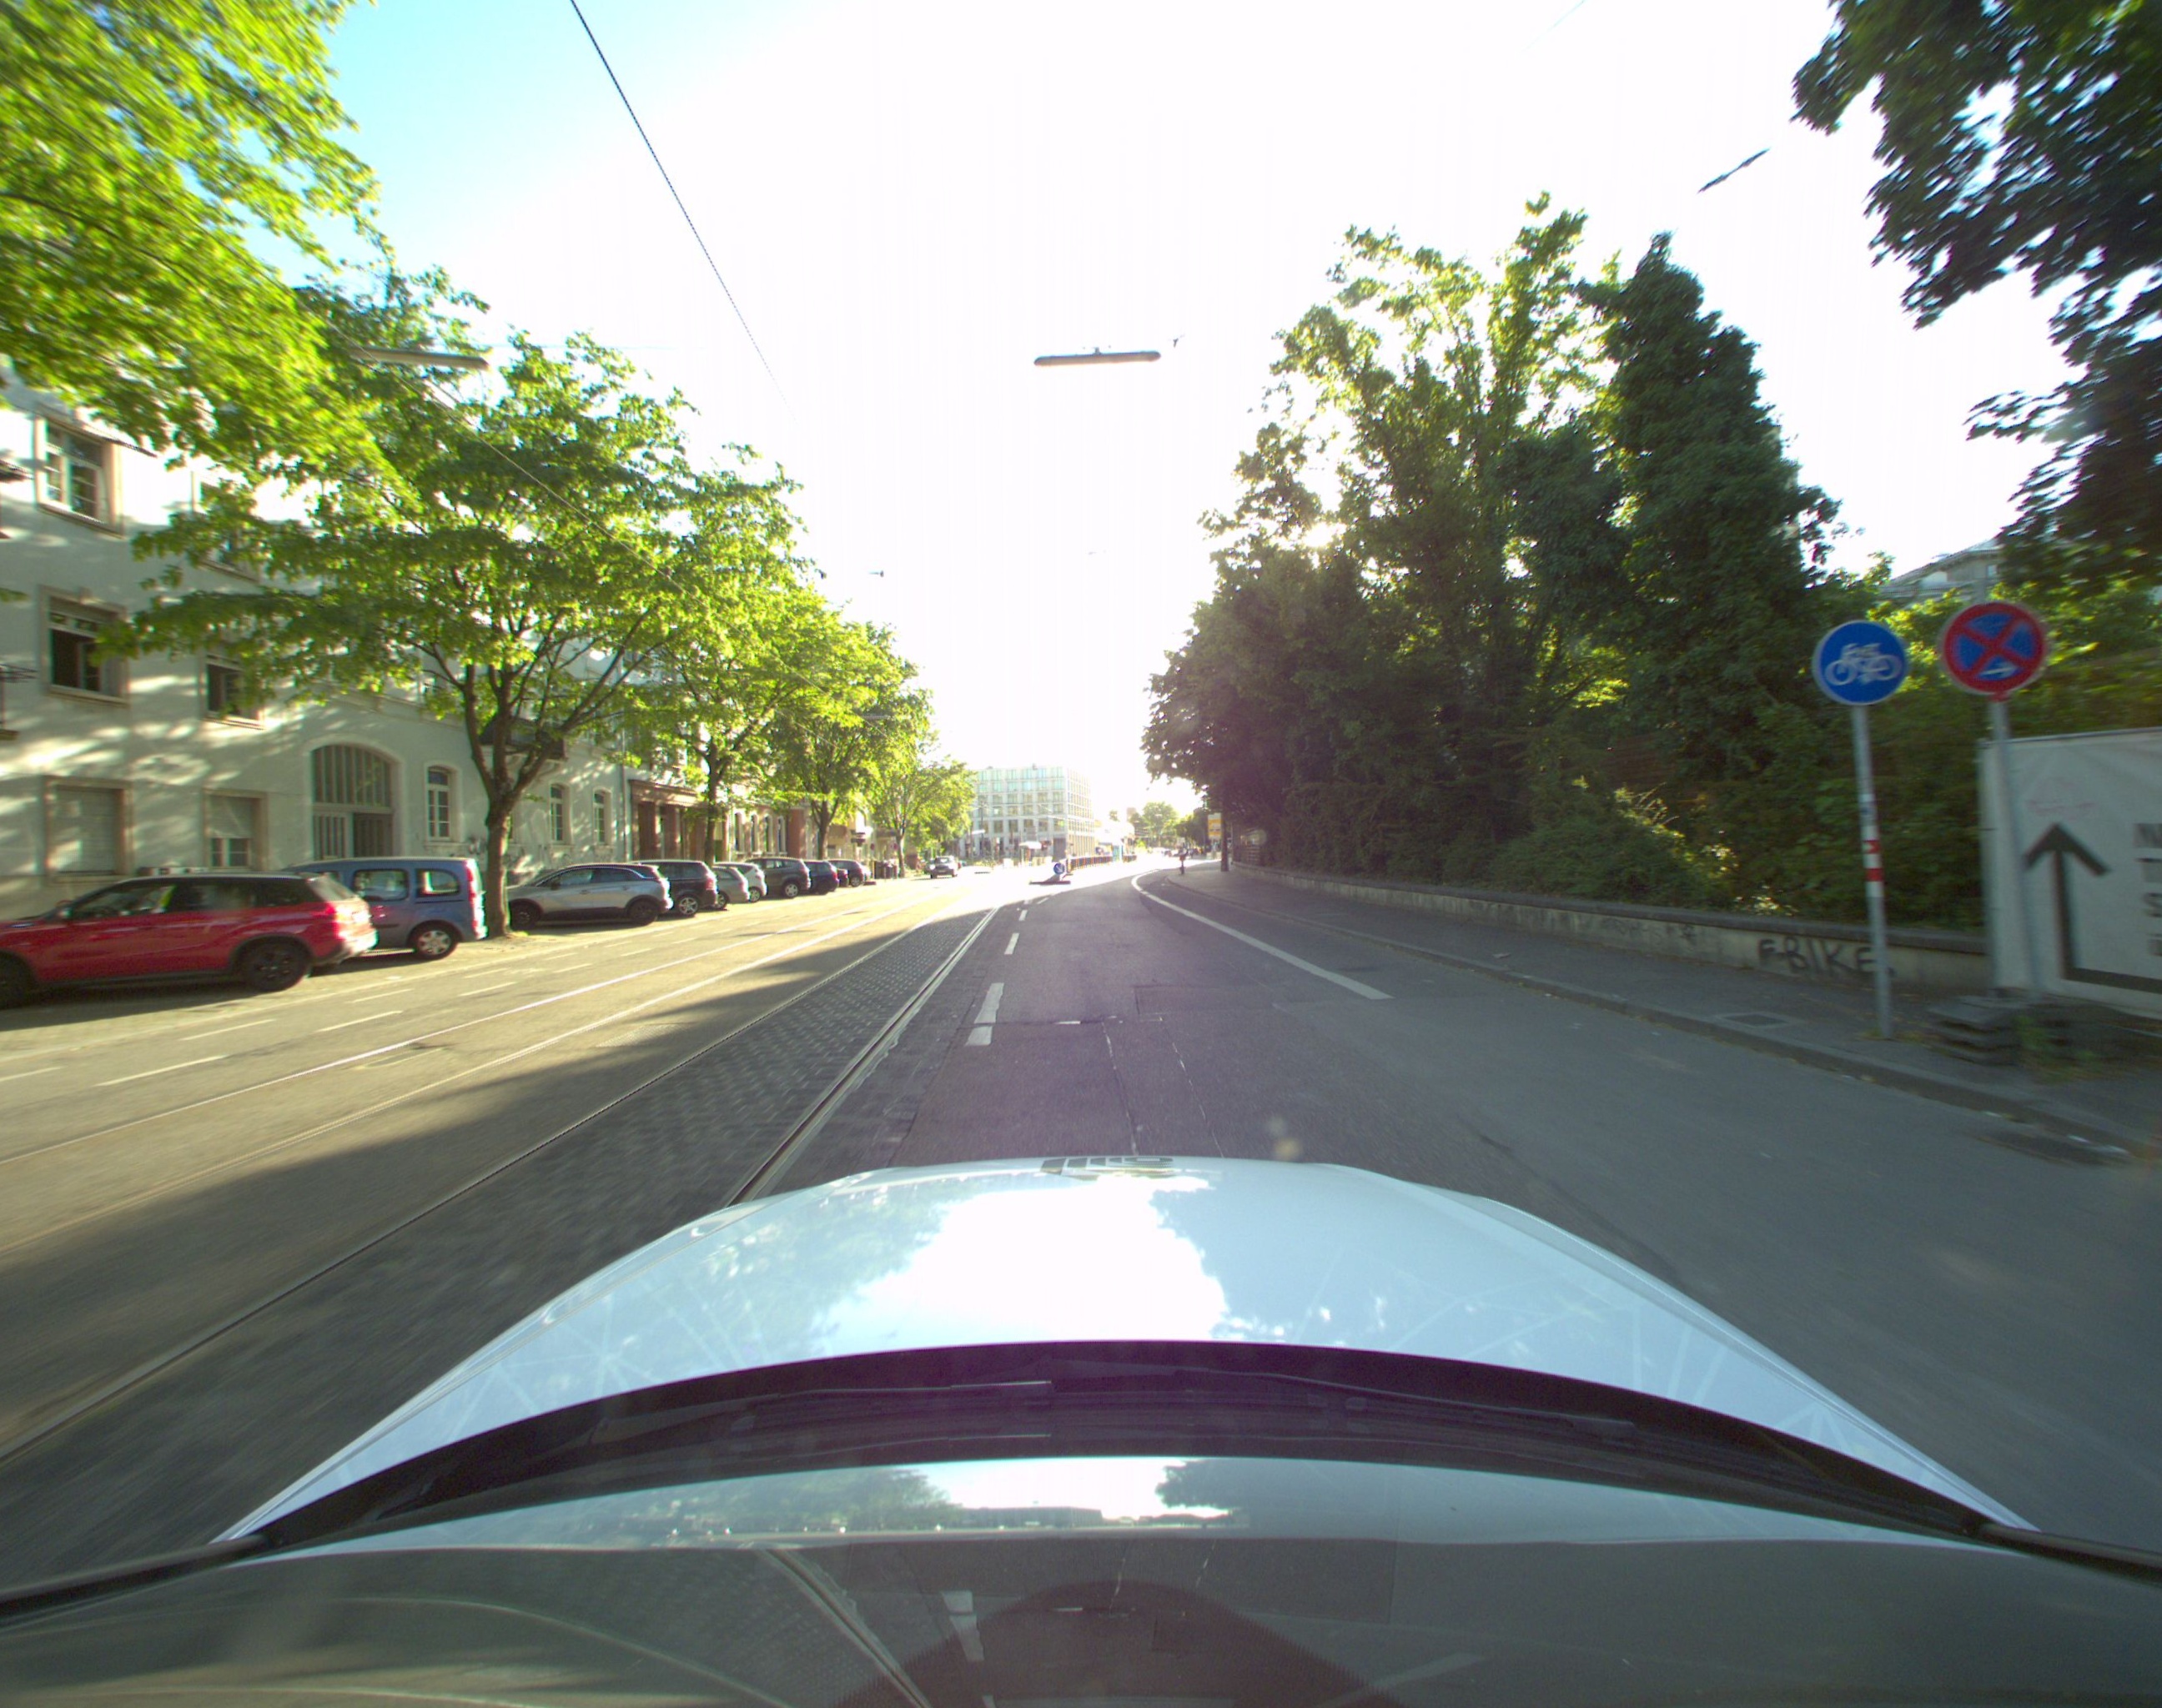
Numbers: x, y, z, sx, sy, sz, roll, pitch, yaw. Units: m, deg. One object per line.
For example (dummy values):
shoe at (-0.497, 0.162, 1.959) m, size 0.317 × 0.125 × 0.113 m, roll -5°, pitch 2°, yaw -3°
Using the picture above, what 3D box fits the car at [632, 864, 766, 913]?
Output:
car at (-12.587, 1.087, 26.866) m, size 3.835 × 1.485 × 1.753 m, roll 0°, pitch -1°, yaw -32°

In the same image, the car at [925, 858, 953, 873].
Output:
car at (-13.447, 1.080, 77.294) m, size 1.699 × 1.410 × 4.294 m, roll 0°, pitch 0°, yaw 2°

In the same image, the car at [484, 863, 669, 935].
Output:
car at (-12.829, 1.089, 20.903) m, size 3.884 × 1.654 × 1.755 m, roll 0°, pitch -1°, yaw -32°

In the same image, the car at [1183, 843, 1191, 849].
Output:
car at (25.780, -1.980, 198.324) m, size 1.674 × 1.501 × 3.519 m, roll -1°, pitch -1°, yaw 11°

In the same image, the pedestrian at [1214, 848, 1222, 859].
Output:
pedestrian at (21.769, -0.026, 129.446) m, size 1.036 × 1.721 × 1.035 m, roll -2°, pitch 0°, yaw -1°

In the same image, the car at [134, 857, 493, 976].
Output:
car at (-12.903, 0.971, 14.135) m, size 4.215 × 1.798 × 1.768 m, roll 1°, pitch -1°, yaw -31°

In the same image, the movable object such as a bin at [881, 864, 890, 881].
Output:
movable object such as a bin at (-14.200, 1.325, 59.061) m, size 0.377 × 1.241 × 0.641 m, roll -2°, pitch 0°, yaw 10°

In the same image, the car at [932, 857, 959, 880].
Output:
car at (-10.095, 1.038, 60.719) m, size 1.870 × 1.601 × 4.413 m, roll -2°, pitch 0°, yaw -9°

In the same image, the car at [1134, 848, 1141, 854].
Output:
car at (17.732, -0.954, 256.471) m, size 1.808 × 1.712 × 3.817 m, roll -2°, pitch 0°, yaw 11°

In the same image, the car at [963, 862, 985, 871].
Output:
car at (-18.471, 2.179, 140.583) m, size 3.510 × 1.506 × 1.526 m, roll -2°, pitch 0°, yaw 8°

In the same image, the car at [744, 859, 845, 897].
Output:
car at (-12.975, 1.060, 36.986) m, size 4.005 × 1.617 × 1.616 m, roll 0°, pitch 0°, yaw -38°

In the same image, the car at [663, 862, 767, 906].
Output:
car at (-13.641, 1.087, 30.400) m, size 3.293 × 1.532 × 1.690 m, roll 1°, pitch -1°, yaw -34°

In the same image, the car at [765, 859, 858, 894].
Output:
car at (-13.139, 1.043, 39.745) m, size 4.005 × 1.617 × 1.616 m, roll 0°, pitch 0°, yaw -38°

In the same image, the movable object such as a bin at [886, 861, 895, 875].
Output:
movable object such as a bin at (-15.771, 1.152, 67.433) m, size 0.423 × 1.126 × 1.148 m, roll -2°, pitch 0°, yaw 4°

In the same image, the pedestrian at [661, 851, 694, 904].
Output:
pedestrian at (-13.965, 0.804, 28.204) m, size 0.764 × 1.755 × 0.804 m, roll -2°, pitch 0°, yaw -13°

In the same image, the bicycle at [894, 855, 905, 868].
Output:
bicycle at (-20.343, 0.800, 91.151) m, size 0.715 × 1.398 × 3.006 m, roll -2°, pitch 0°, yaw -4°

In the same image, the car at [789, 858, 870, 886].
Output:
car at (-13.755, 0.967, 44.685) m, size 3.937 × 1.508 × 1.672 m, roll 1°, pitch 0°, yaw -34°

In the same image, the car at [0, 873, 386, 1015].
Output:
car at (-12.420, 1.111, 11.109) m, size 4.215 × 1.636 × 1.726 m, roll 1°, pitch 1°, yaw -31°

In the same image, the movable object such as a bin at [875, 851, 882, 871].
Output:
movable object such as a bin at (-14.733, 0.486, 59.240) m, size 0.377 × 1.427 × 0.387 m, roll -2°, pitch 0°, yaw 10°

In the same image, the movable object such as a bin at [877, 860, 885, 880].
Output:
movable object such as a bin at (-14.657, 1.190, 59.651) m, size 0.377 × 1.427 × 0.389 m, roll -2°, pitch 0°, yaw 10°

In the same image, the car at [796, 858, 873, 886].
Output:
car at (-14.412, 1.032, 47.639) m, size 3.936 × 1.522 × 1.715 m, roll 1°, pitch 0°, yaw -39°

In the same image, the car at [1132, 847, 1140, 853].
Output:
car at (16.674, -1.125, 245.629) m, size 1.808 × 1.712 × 3.817 m, roll -2°, pitch 0°, yaw 11°

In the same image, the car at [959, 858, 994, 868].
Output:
car at (-14.235, 1.213, 110.615) m, size 4.519 × 1.350 × 1.578 m, roll -1°, pitch -1°, yaw -22°

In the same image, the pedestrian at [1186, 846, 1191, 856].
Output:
pedestrian at (20.708, -0.563, 156.835) m, size 0.846 × 1.784 × 0.778 m, roll -2°, pitch 0°, yaw -6°

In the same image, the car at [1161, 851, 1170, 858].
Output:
car at (19.522, 0.156, 188.364) m, size 1.674 × 1.737 × 3.519 m, roll -1°, pitch -1°, yaw 11°

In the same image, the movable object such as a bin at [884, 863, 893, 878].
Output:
movable object such as a bin at (-14.129, 1.196, 59.709) m, size 0.377 × 1.068 × 0.641 m, roll -2°, pitch 0°, yaw 10°

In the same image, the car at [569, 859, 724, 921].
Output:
car at (-12.677, 1.002, 23.874) m, size 3.883 × 1.654 × 1.756 m, roll 0°, pitch -1°, yaw -31°

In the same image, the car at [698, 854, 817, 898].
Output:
car at (-13.362, 0.916, 33.712) m, size 4.303 × 1.723 × 1.689 m, roll 1°, pitch -2°, yaw -34°
